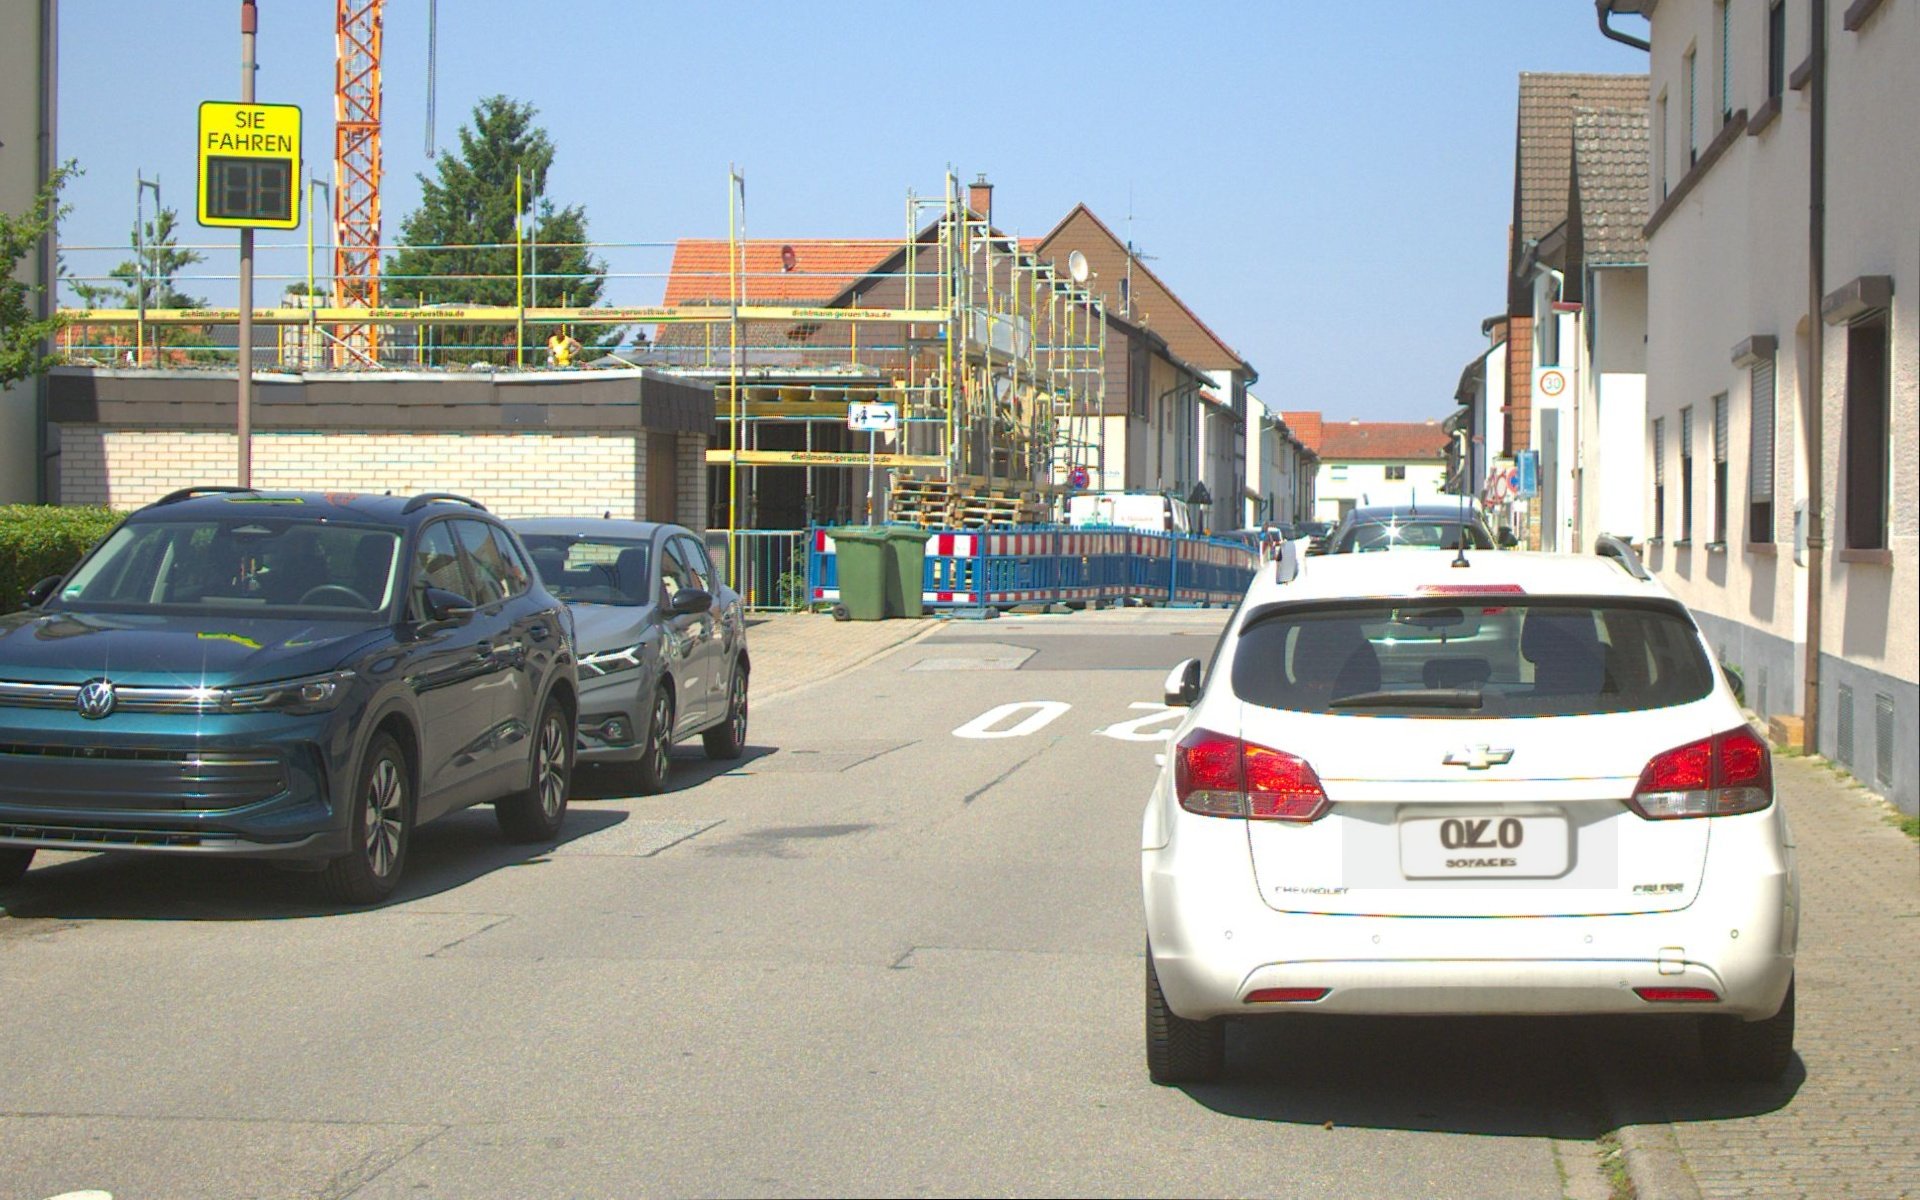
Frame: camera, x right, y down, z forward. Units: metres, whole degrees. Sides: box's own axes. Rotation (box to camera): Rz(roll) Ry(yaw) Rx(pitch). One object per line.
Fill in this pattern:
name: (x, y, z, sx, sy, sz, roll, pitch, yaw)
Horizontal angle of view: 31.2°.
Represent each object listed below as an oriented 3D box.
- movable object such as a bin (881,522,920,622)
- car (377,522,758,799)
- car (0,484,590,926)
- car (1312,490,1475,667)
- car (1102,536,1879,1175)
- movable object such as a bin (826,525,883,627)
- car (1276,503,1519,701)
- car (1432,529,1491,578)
movable object such as a bin: (-0.698, -0.327, 40.003, 0.431, 1.151, 0.364, 1, 1, -2)
car: (-2.218, 0.293, 20.320, 1.436, 1.469, 3.786, 1, 1, 6)
car: (-3.027, 0.338, 14.967, 1.827, 1.625, 4.216, 1, 1, 8)
car: (4.462, -0.267, 35.451, 1.564, 1.607, 3.542, 1, 4, 7)
car: (1.394, 0.591, 10.629, 1.887, 1.536, 4.242, 1, 1, 2)
movable object such as a bin: (-1.213, -0.286, 39.589, 0.621, 1.151, 0.677, 1, 1, 0)
car: (3.786, -0.030, 30.313, 1.885, 1.550, 3.894, -3, 1, 5)
car: (14.840, -1.383, 101.901, 1.555, 1.382, 3.450, 1, 2, 6)
